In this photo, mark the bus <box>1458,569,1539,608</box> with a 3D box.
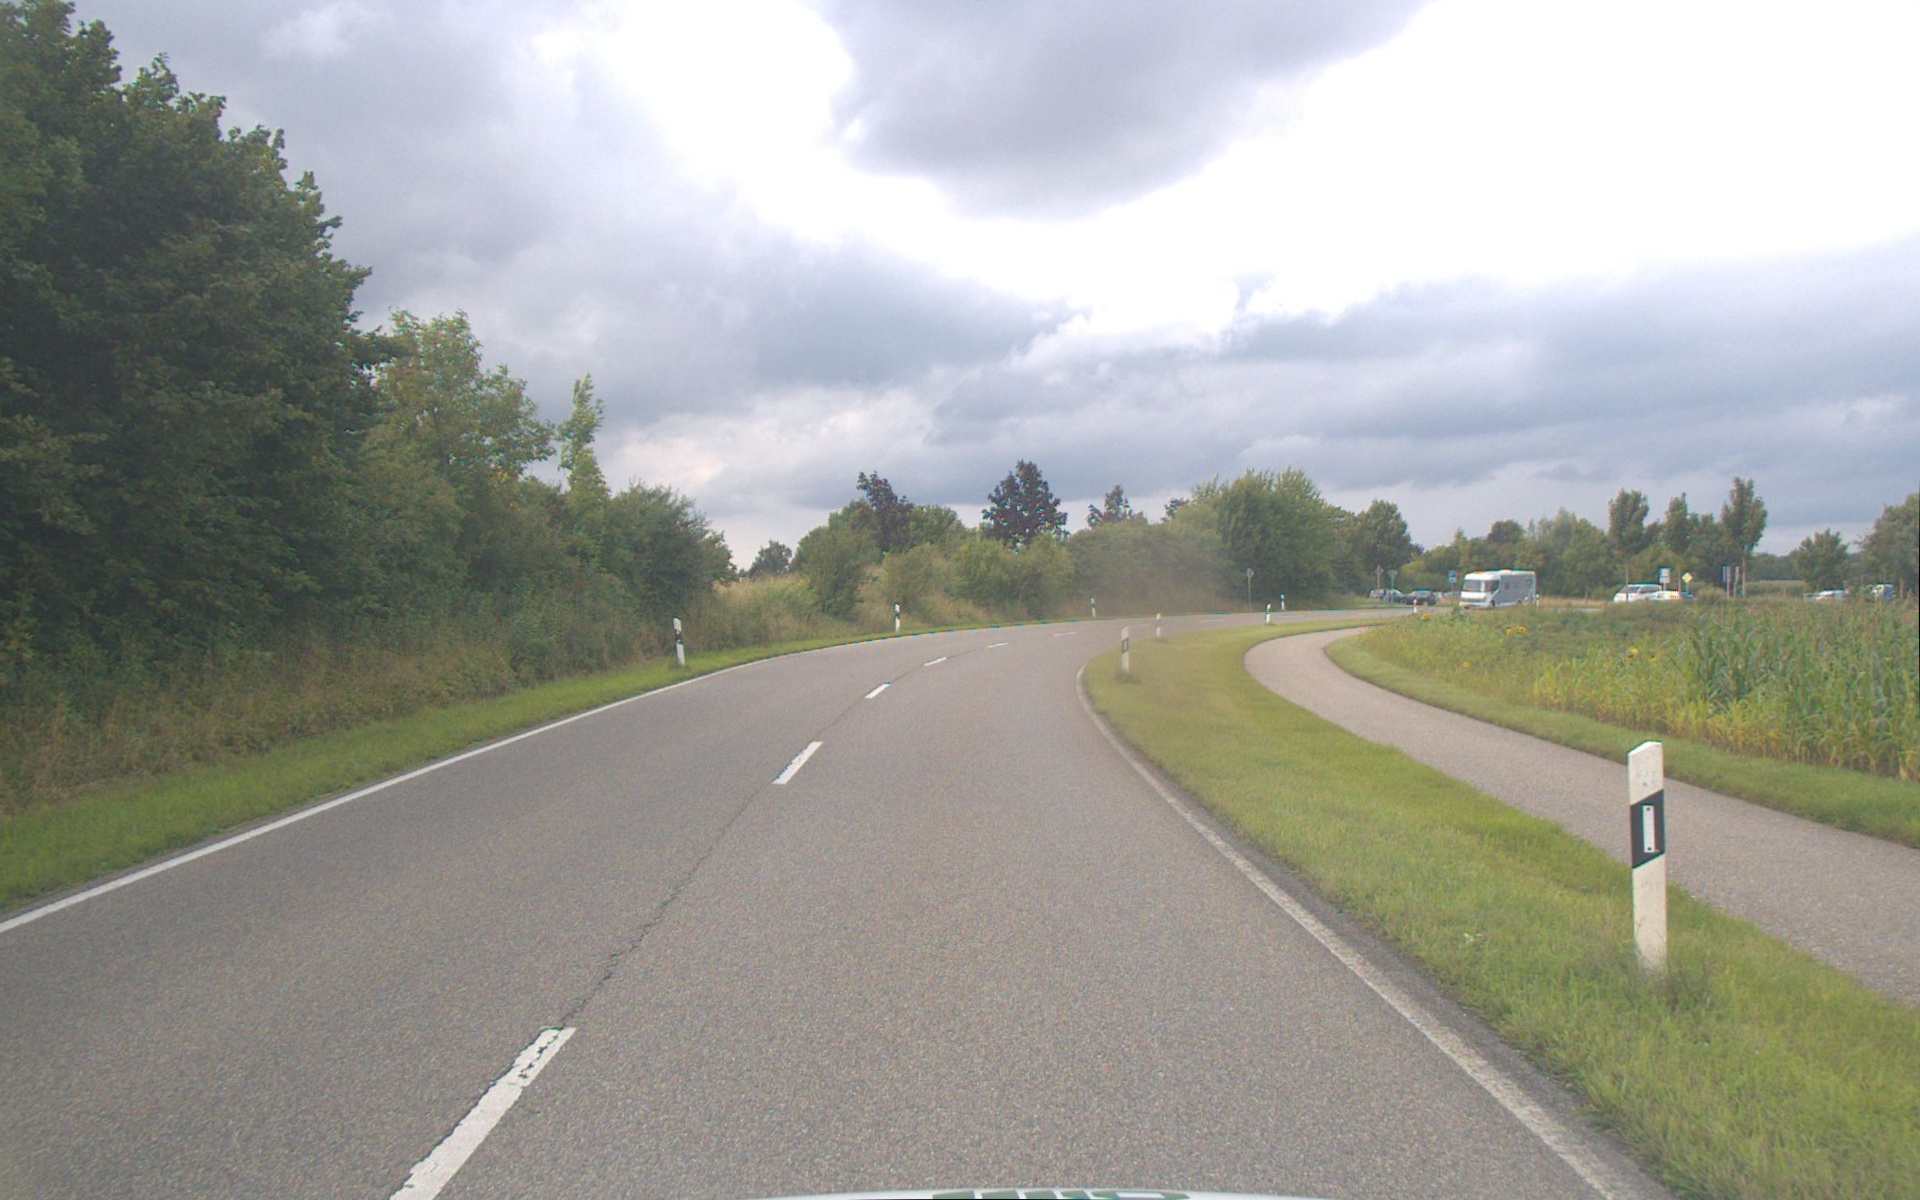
[{"bbox_3d":[39.555,-0.880,121.292,2.439,2.758,8.378,1,1,42],"label":"bus"}]
